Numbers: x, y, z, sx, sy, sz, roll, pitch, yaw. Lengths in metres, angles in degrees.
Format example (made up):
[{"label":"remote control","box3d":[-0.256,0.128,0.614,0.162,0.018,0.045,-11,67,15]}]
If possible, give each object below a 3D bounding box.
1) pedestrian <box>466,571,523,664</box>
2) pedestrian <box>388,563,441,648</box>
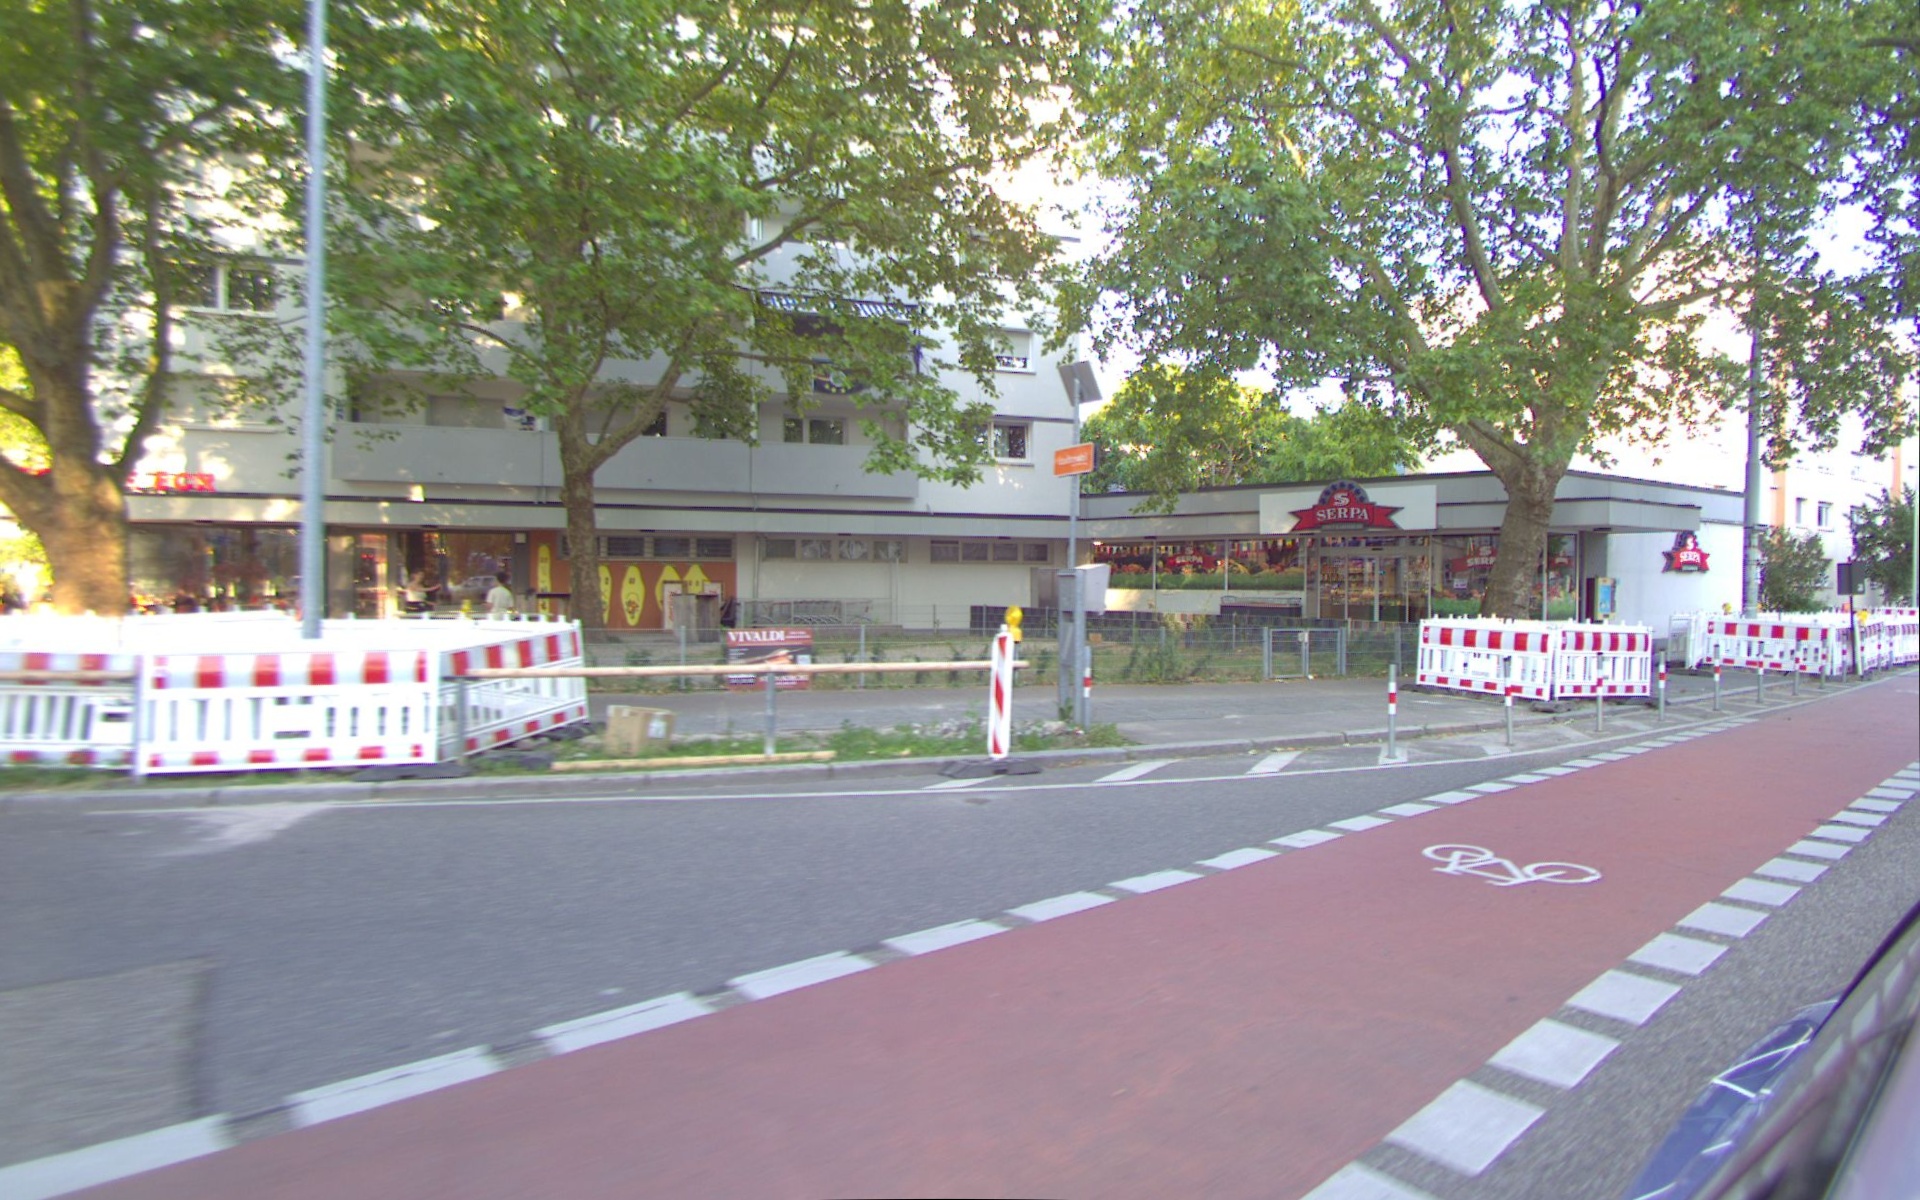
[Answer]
[{"label":"pedestrian","box3d":[-8.260,0.295,17.965,0.639,1.608,0.735,-1,0,43]},{"label":"pedestrian","box3d":[-10.637,0.095,19.747,0.639,1.608,0.735,-1,0,43]}]
